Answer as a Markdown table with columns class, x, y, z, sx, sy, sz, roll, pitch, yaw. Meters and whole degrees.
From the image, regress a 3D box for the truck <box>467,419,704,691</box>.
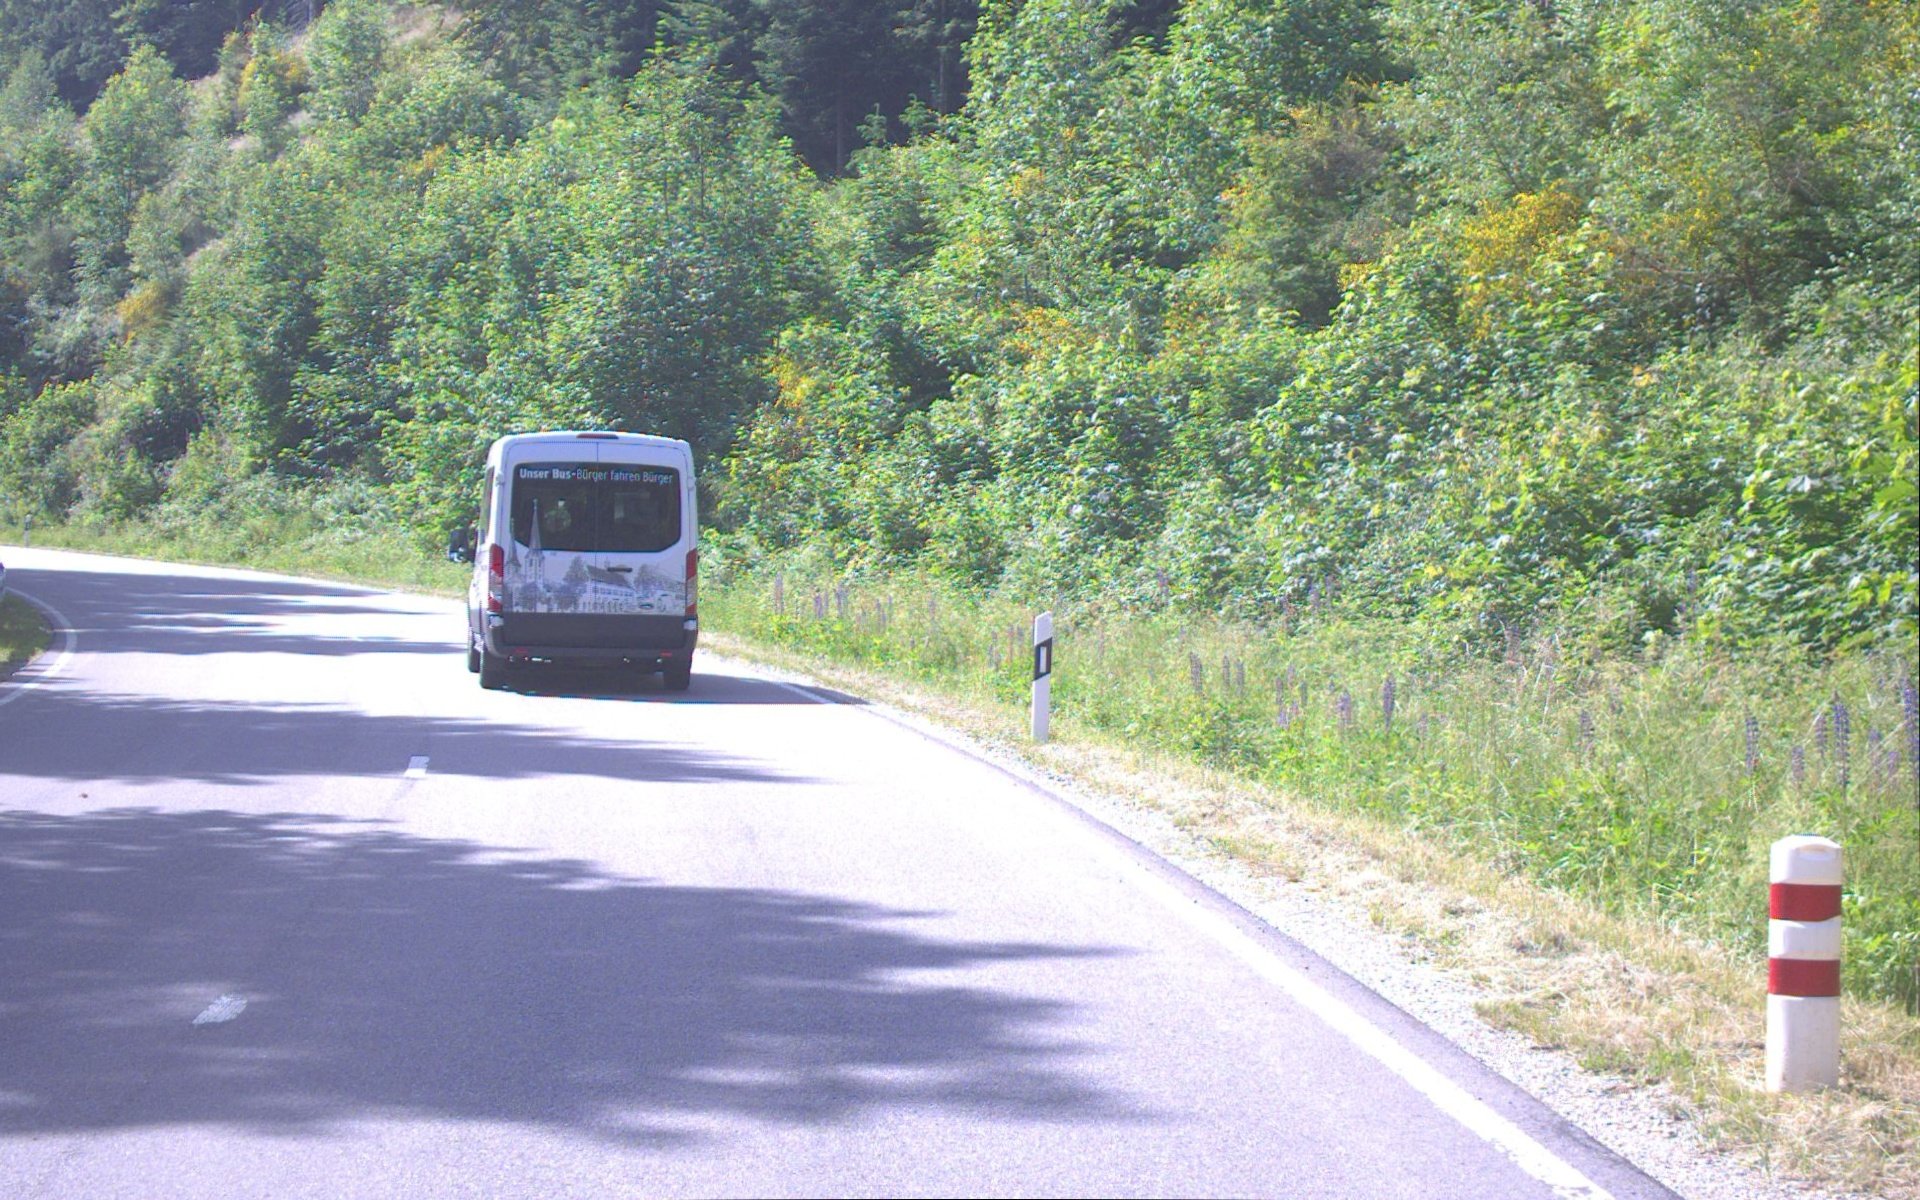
| class | x | y | z | sx | sy | sz | roll | pitch | yaw |
| --- | --- | --- | --- | --- | --- | --- | --- | --- | --- |
| truck | -3.834 | -0.476 | 34.405 | 2.115 | 2.489 | 5.361 | 0 | 1 | -9 |
